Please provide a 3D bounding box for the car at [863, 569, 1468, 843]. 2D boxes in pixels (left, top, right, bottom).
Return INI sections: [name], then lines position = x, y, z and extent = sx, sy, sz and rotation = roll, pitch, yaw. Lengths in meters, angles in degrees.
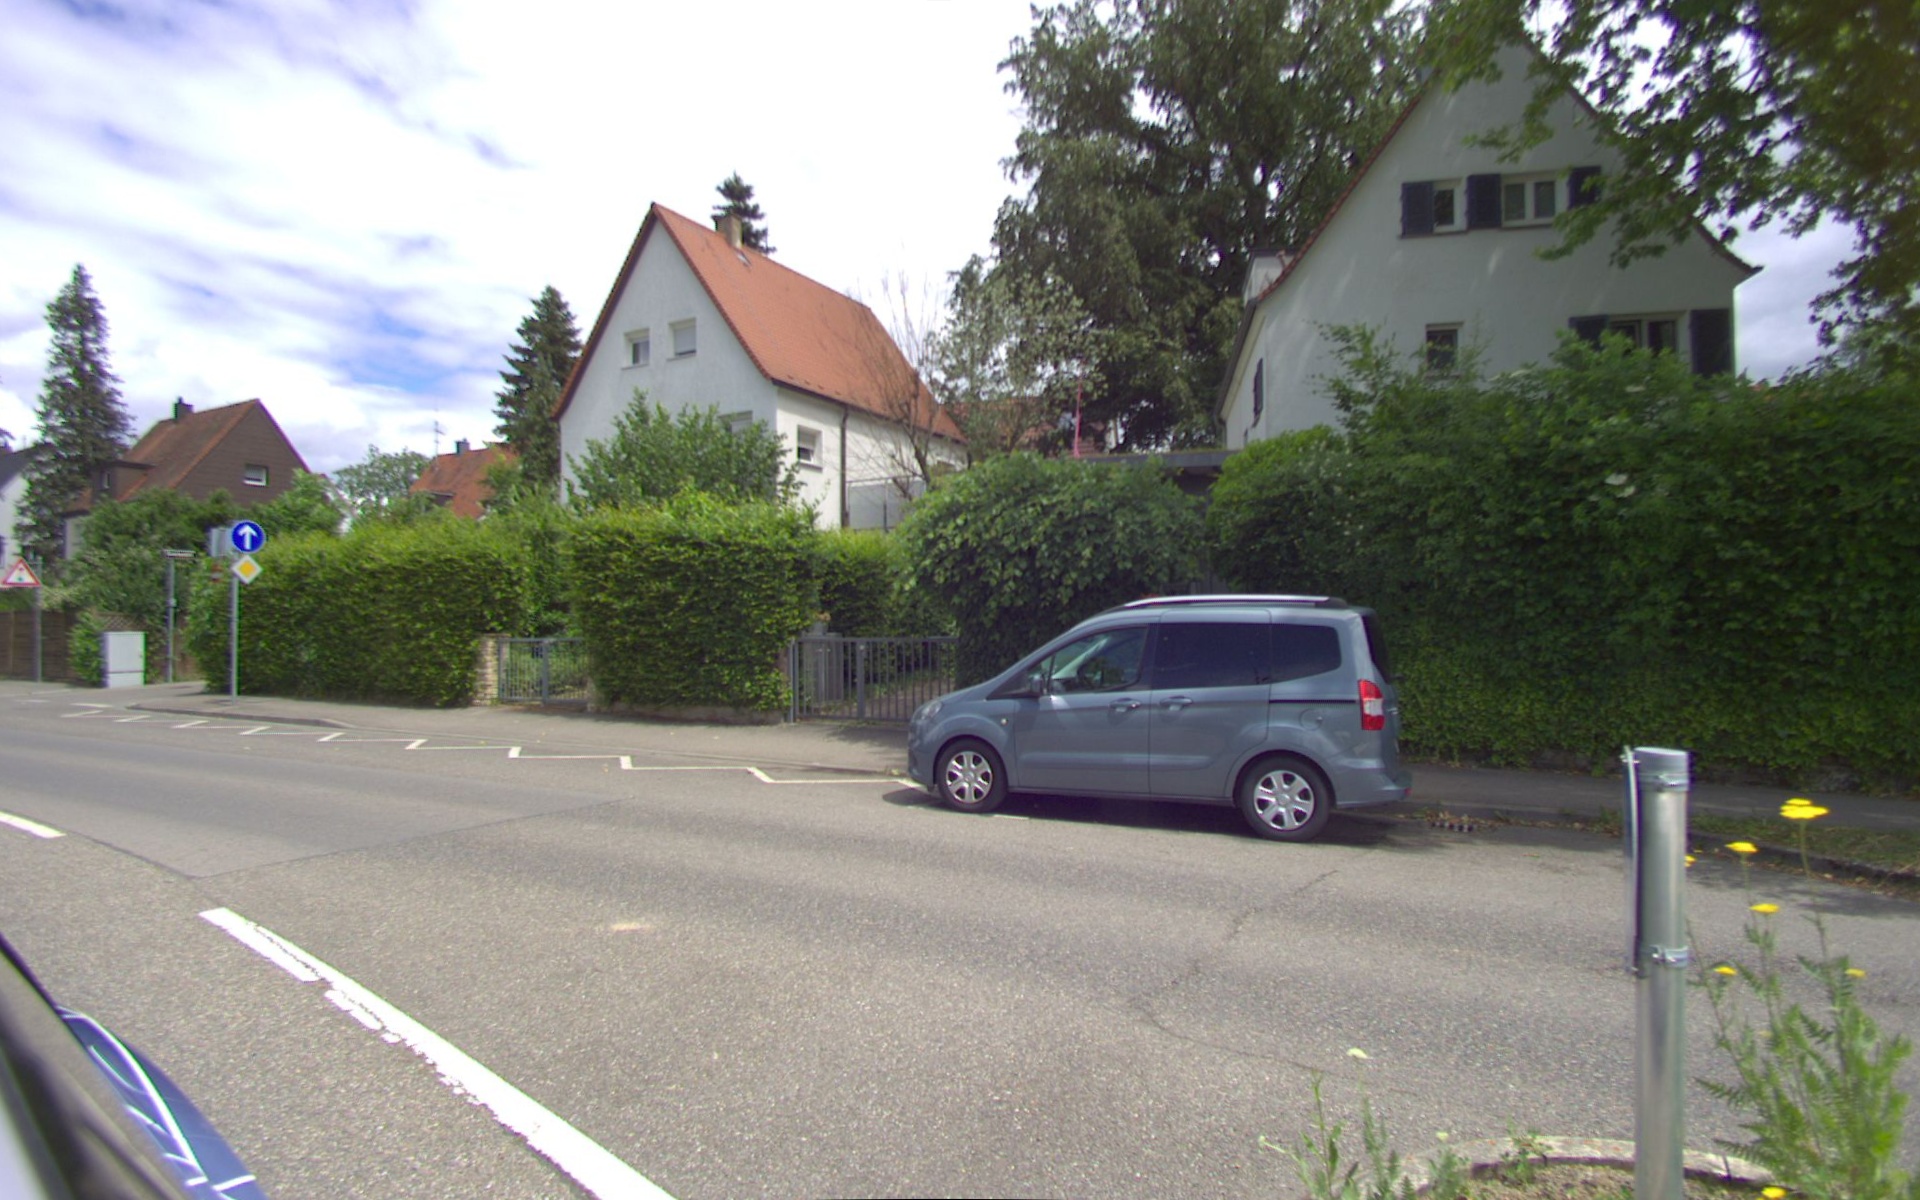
[car]
position = 1.653, 0.747, 8.470
extent = 4.435, 1.786, 2.122
rotation = -2, 0, 23
